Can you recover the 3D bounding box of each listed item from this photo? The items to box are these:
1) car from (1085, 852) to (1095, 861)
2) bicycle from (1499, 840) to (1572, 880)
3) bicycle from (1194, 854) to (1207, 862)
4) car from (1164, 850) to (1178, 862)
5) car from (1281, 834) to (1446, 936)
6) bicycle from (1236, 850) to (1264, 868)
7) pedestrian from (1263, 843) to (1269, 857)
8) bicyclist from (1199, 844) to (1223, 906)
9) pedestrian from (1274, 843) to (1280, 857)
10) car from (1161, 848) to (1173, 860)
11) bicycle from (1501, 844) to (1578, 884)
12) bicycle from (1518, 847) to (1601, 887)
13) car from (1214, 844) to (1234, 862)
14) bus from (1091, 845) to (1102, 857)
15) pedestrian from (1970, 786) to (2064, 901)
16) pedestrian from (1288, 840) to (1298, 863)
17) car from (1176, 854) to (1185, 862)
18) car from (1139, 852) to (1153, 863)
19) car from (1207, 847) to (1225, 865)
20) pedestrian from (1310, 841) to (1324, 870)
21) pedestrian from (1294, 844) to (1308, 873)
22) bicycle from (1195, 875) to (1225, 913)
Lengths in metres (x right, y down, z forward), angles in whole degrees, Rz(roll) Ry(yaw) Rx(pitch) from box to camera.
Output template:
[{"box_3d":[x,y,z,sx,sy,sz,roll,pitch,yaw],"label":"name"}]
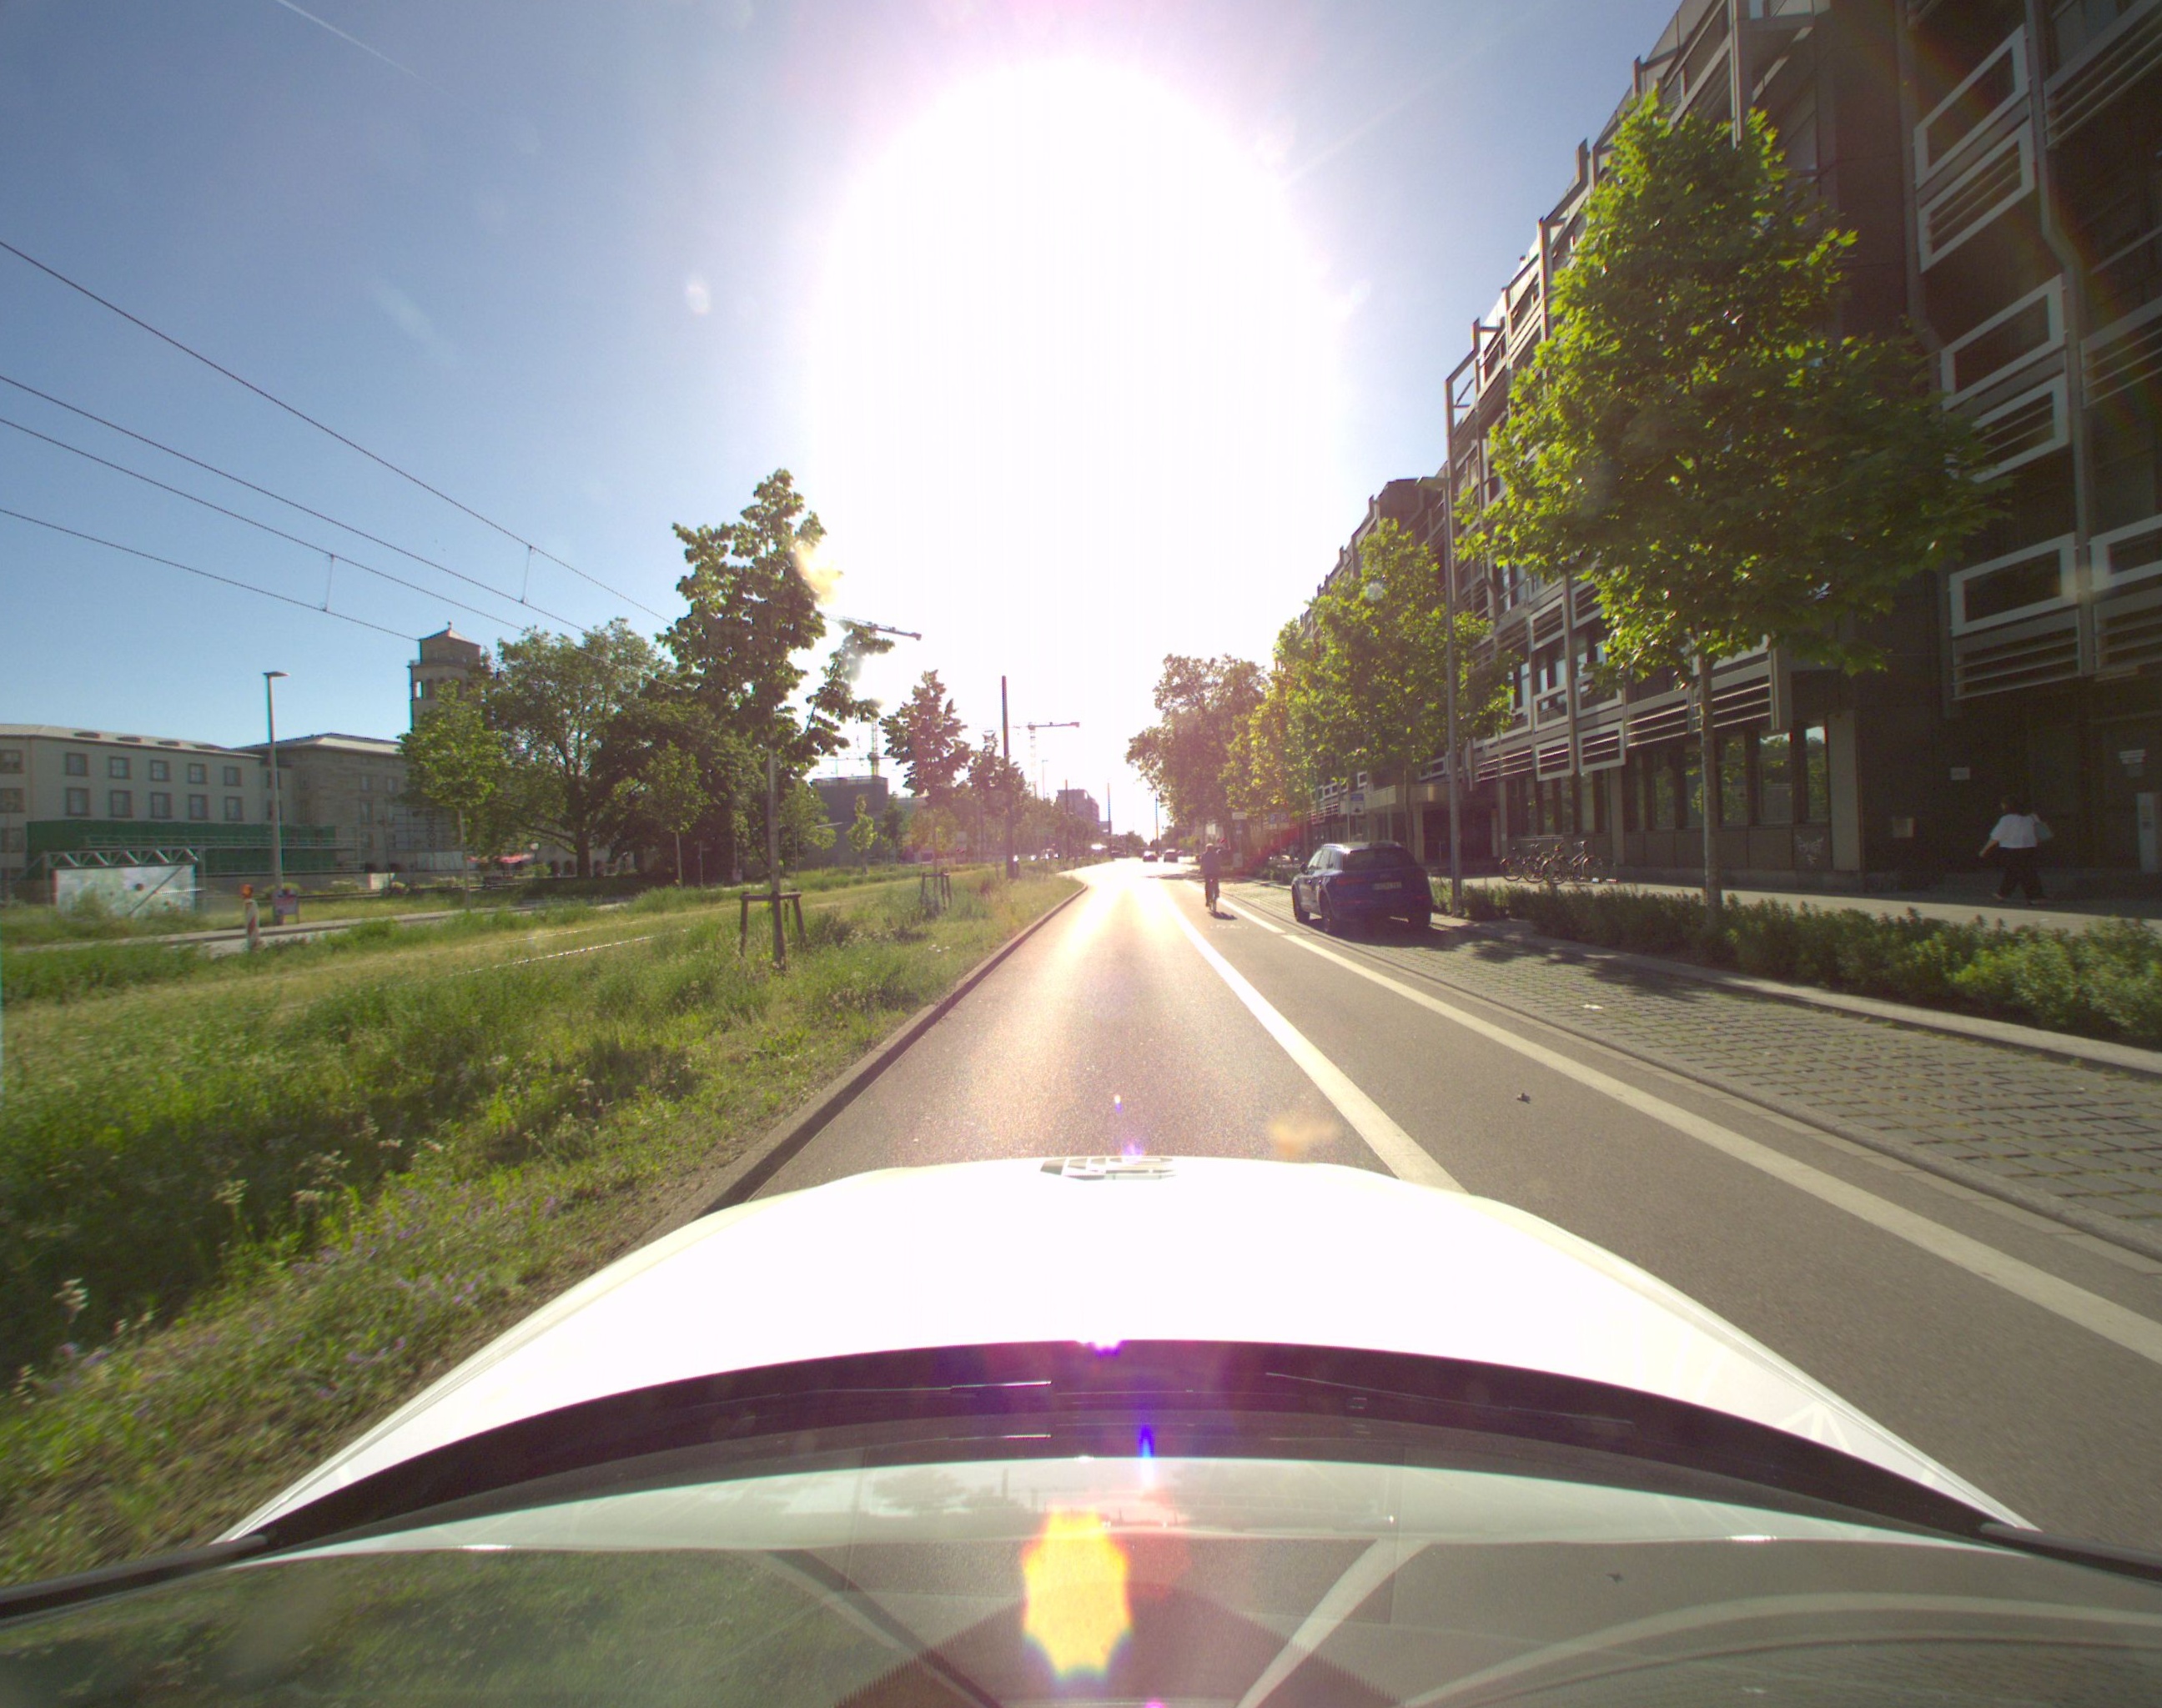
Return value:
[{"box_3d":[1.940,0.577,177.279,1.889,1.816,4.003,0,-1,3],"label":"car"},{"box_3d":[13.781,0.183,24.697,1.848,1.097,0.427,-4,-1,6],"label":"bicycle"},{"box_3d":[16.380,0.541,112.068,1.687,0.957,0.478,-3,0,1],"label":"bicycle"},{"box_3d":[12.434,0.279,112.641,1.712,1.618,4.195,-2,0,8],"label":"car"},{"box_3d":[5.523,0.539,16.638,1.841,1.657,4.852,-4,0,3],"label":"car"},{"box_3d":[12.649,0.364,61.062,1.929,1.236,0.579,-5,0,2],"label":"bicycle"},{"box_3d":[20.278,-0.429,89.291,0.504,1.584,0.634,-2,0,-3],"label":"pedestrian"},{"box_3d":[3.431,0.552,21.545,0.511,1.601,0.536,-2,0,1],"label":"bicyclist"},{"box_3d":[21.537,-0.450,89.411,0.550,1.603,0.574,-2,0,6],"label":"pedestrian"},{"box_3d":[13.337,0.028,126.158,1.713,1.782,4.192,-2,0,5],"label":"car"},{"box_3d":[13.105,0.278,23.317,1.848,1.011,0.427,-4,-1,6],"label":"bicycle"},{"box_3d":[12.869,0.344,21.936,1.848,0.939,0.427,-4,-1,6],"label":"bicycle"},{"box_3d":[13.961,-0.095,79.528,1.694,1.643,4.647,-2,0,8],"label":"car"},{"box_3d":[4.019,-0.725,208.891,2.616,2.783,8.852,0,-1,4],"label":"bus"},{"box_3d":[13.880,-0.147,12.089,0.508,1.622,0.675,-4,0,5],"label":"pedestrian"},{"box_3d":[15.553,-0.186,59.834,0.508,1.701,0.775,-4,0,5],"label":"pedestrian"},{"box_3d":[21.234,0.782,173.729,1.654,1.649,3.705,0,-1,4],"label":"car"},{"box_3d":[9.340,0.509,116.503,1.903,1.486,4.015,-2,0,5],"label":"car"},{"box_3d":[15.012,0.197,90.900,1.695,1.790,4.200,-4,0,6],"label":"car"},{"box_3d":[12.261,0.073,42.283,0.508,1.474,0.737,-4,0,5],"label":"pedestrian"},{"box_3d":[13.149,0.273,48.636,0.644,1.728,0.804,-2,0,5],"label":"pedestrian"},{"box_3d":[3.437,1.048,21.783,0.496,0.906,2.197,0,0,2],"label":"bicycle"}]
